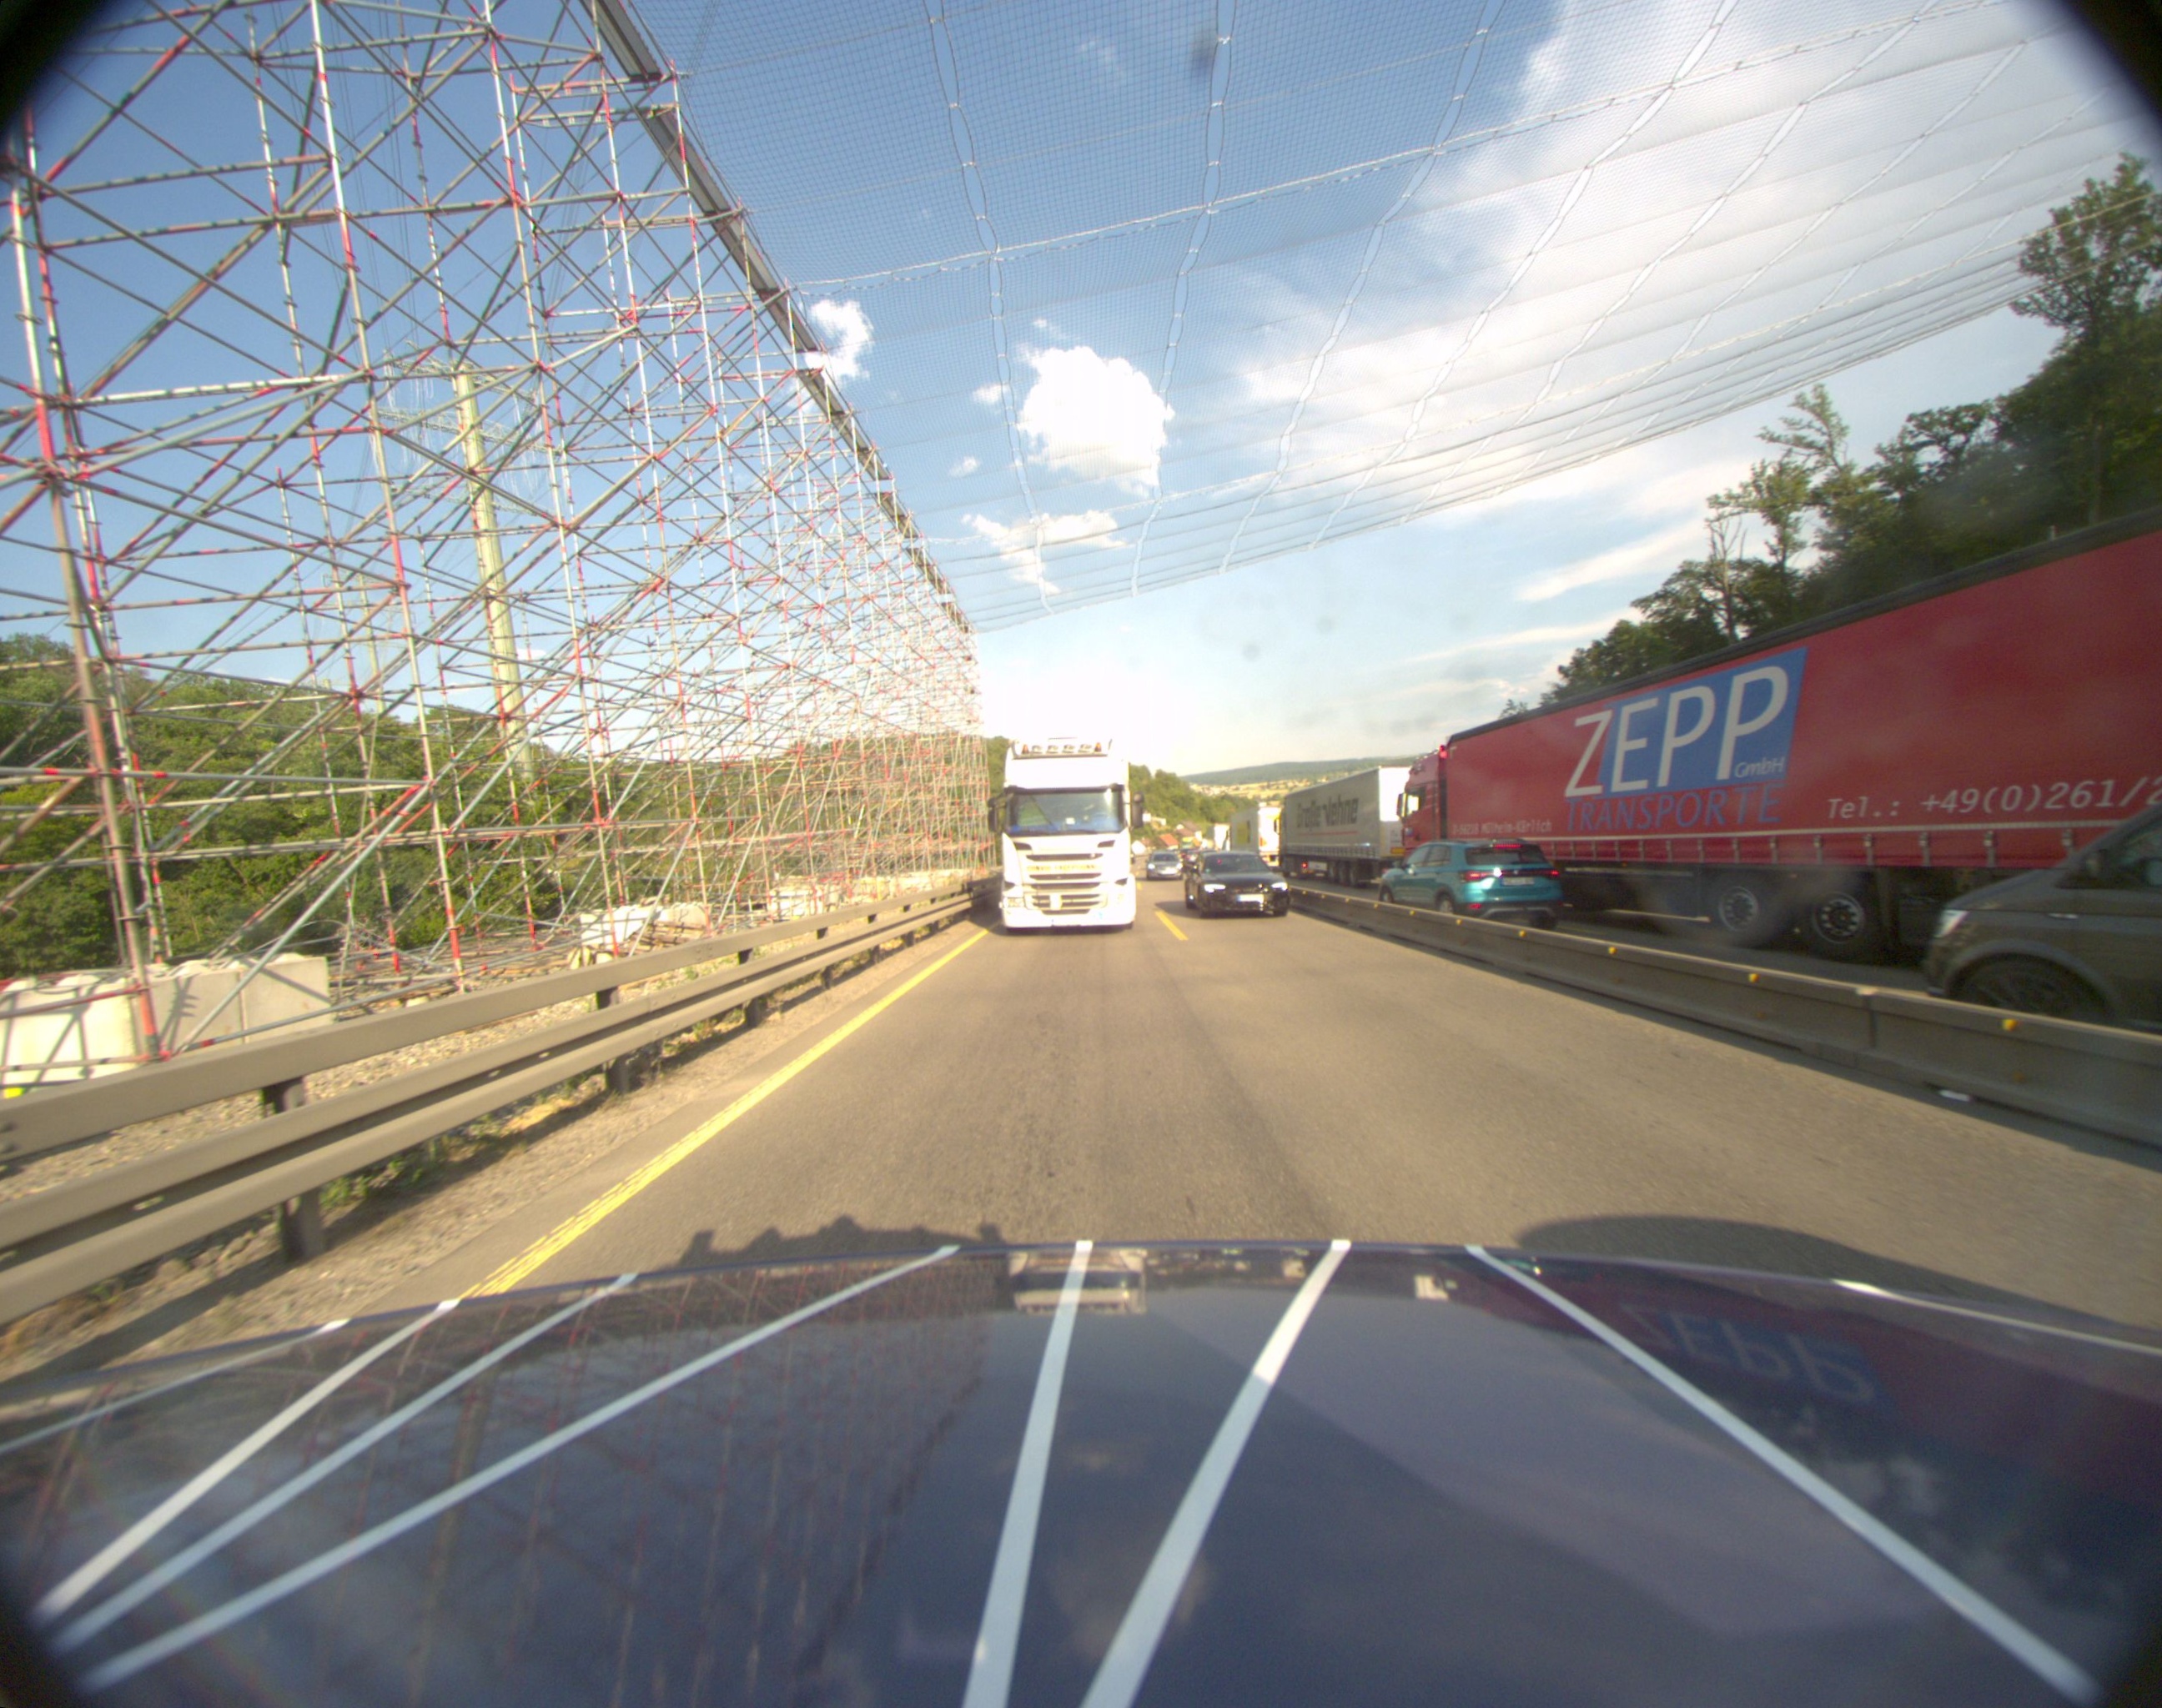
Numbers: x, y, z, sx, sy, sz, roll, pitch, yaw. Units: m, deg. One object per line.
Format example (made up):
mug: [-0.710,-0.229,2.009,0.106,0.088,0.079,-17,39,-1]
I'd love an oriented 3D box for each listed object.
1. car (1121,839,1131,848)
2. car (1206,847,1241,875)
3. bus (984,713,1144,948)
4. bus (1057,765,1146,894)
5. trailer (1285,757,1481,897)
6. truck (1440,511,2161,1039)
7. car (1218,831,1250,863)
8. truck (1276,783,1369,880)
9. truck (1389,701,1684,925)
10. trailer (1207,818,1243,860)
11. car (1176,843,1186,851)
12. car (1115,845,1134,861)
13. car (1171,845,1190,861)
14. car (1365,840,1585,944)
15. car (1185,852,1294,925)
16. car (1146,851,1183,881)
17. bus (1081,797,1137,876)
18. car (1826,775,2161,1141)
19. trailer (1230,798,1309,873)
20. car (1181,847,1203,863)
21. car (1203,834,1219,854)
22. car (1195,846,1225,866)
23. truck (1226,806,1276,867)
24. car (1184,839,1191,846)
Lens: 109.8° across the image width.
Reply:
car: [7.692,-1.773,130.132,1.500,1.475,2.913,-1,1,-1]
car: [8.154,0.365,43.652,1.654,1.455,4.402,-3,1,7]
bus: [0.162,-0.522,18.944,2.634,4.077,11.316,-1,1,5]
bus: [1.149,-0.906,32.140,2.984,4.553,9.970,-1,1,5]
trailer: [10.911,-0.920,29.712,2.805,4.117,13.967,-1,1,3]
truck: [9.870,-0.720,11.050,2.794,4.117,13.805,-1,1,0]
car: [14.003,-0.558,70.009,2.026,2.674,6.952,-3,-1,5]
truck: [11.279,-1.025,36.072,2.793,4.118,5.934,-1,1,3]
truck: [9.905,-0.812,17.579,2.794,4.118,6.678,-1,1,0]
trailer: [15.587,-1.607,83.199,2.726,4.194,13.752,-1,1,6]
car: [20.241,-1.394,153.222,1.820,1.570,4.758,1,0,9]
car: [4.863,-0.104,85.153,1.998,1.630,4.000,-1,1,3]
car: [10.548,-0.121,80.874,1.756,1.648,4.864,-1,1,5]
car: [6.833,0.562,13.769,1.747,1.526,4.267,-2,1,0]
car: [3.514,0.702,17.506,1.866,1.391,4.000,-1,1,3]
car: [4.253,0.571,39.169,1.698,1.390,4.001,-3,0,4]
bus: [2.057,-1.077,50.329,2.984,4.553,10.907,-1,1,6]
car: [6.576,0.513,3.298,1.879,1.924,4.861,-2,0,0]
trailer: [12.268,-1.171,50.989,2.772,4.309,13.883,-1,1,4]
car: [10.397,0.080,71.291,1.735,1.369,4.892,-3,1,5]
car: [20.585,-1.631,119.930,2.338,2.901,7.637,0,1,10]
car: [9.907,0.137,58.535,1.736,1.430,4.839,-2,0,4]
truck: [12.727,-1.300,57.201,2.751,4.275,5.934,-1,1,4]
car: [29.908,-3.204,213.462,1.820,1.988,4.758,1,0,9]
